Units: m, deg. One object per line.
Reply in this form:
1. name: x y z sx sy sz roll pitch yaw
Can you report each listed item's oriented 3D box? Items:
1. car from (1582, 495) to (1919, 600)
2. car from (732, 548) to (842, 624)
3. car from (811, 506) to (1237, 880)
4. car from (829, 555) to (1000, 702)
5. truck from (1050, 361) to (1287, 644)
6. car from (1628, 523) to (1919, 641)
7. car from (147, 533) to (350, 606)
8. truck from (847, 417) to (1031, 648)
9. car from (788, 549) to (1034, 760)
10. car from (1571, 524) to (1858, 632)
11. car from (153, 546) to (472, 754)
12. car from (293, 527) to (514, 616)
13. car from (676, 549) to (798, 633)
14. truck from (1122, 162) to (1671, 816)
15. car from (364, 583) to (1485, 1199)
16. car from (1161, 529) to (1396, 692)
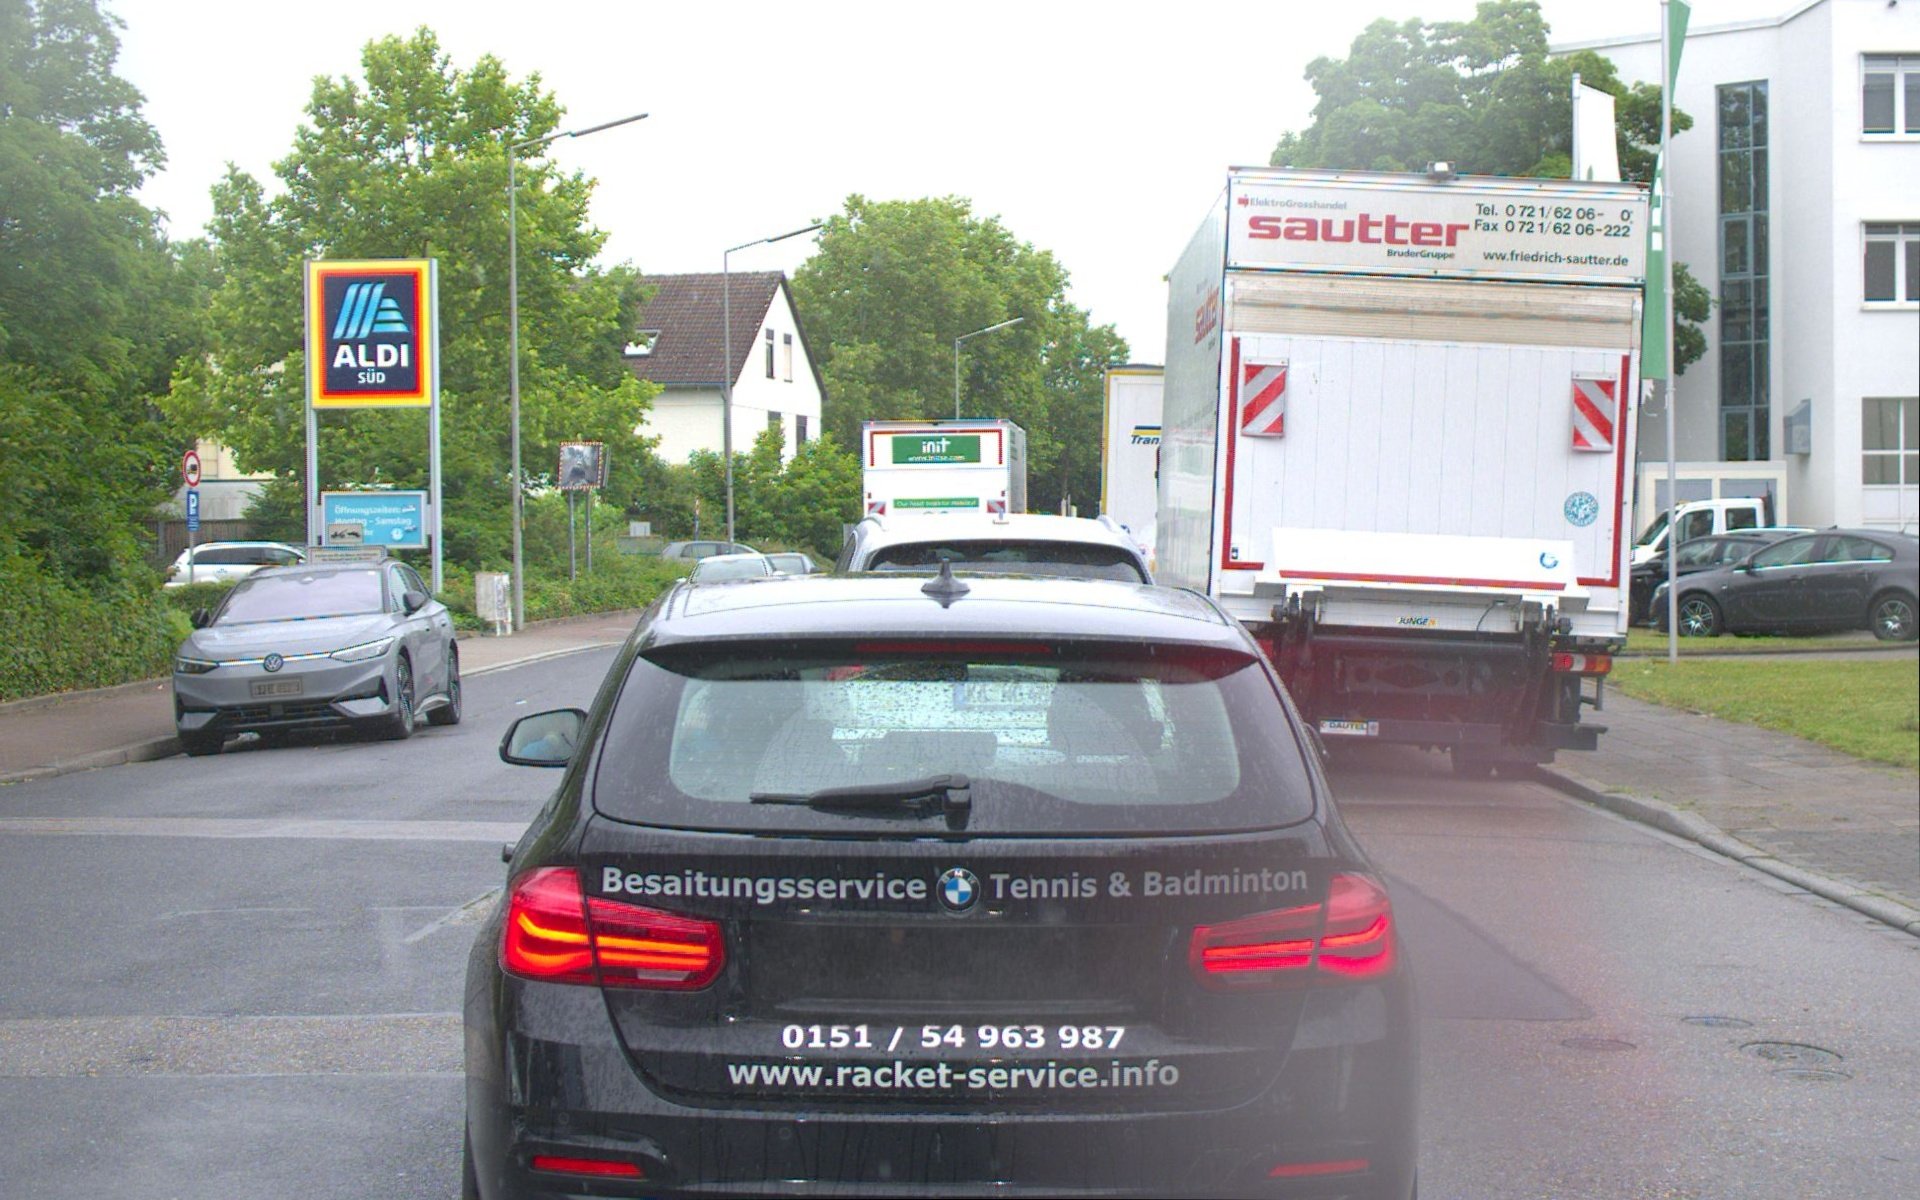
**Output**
1. car: 15.743 -1.022 68.065 6.452 2.007 2.000 0 0 -4
2. car: -3.430 -0.303 68.765 1.706 1.362 3.838 -3 1 4
3. car: 0.210 0.373 16.616 1.804 1.581 4.000 0 1 -2
4. car: -0.547 0.285 38.475 1.804 1.547 4.000 0 1 -2
5. truck: 2.822 -1.348 48.750 2.741 3.598 7.750 2 1 0
6. car: 11.216 -0.250 44.678 4.671 1.463 1.787 0 1 38
7. car: -15.411 -0.666 74.573 3.987 1.535 1.911 0 1 1
8. truck: -0.222 -1.186 53.826 2.341 3.245 7.751 2 3 3
9. car: -0.424 0.381 27.355 1.804 1.547 4.000 0 1 -2
10. car: 11.254 -0.355 51.377 3.777 1.392 1.723 4 4 40
11. car: -5.475 0.361 29.668 1.809 1.523 4.748 -4 1 -1
12. car: -9.816 -0.512 60.808 3.570 1.455 1.712 1 1 2
13. car: -4.039 -0.192 62.790 1.705 1.362 4.601 -3 1 2
14. truck: 2.805 -0.742 25.063 2.741 3.776 9.299 2 1 0
15. car: -0.118 0.678 7.554 1.804 1.390 4.000 0 1 -2
16. car: 2.960 0.054 32.699 1.797 1.436 4.345 -1 1 0
